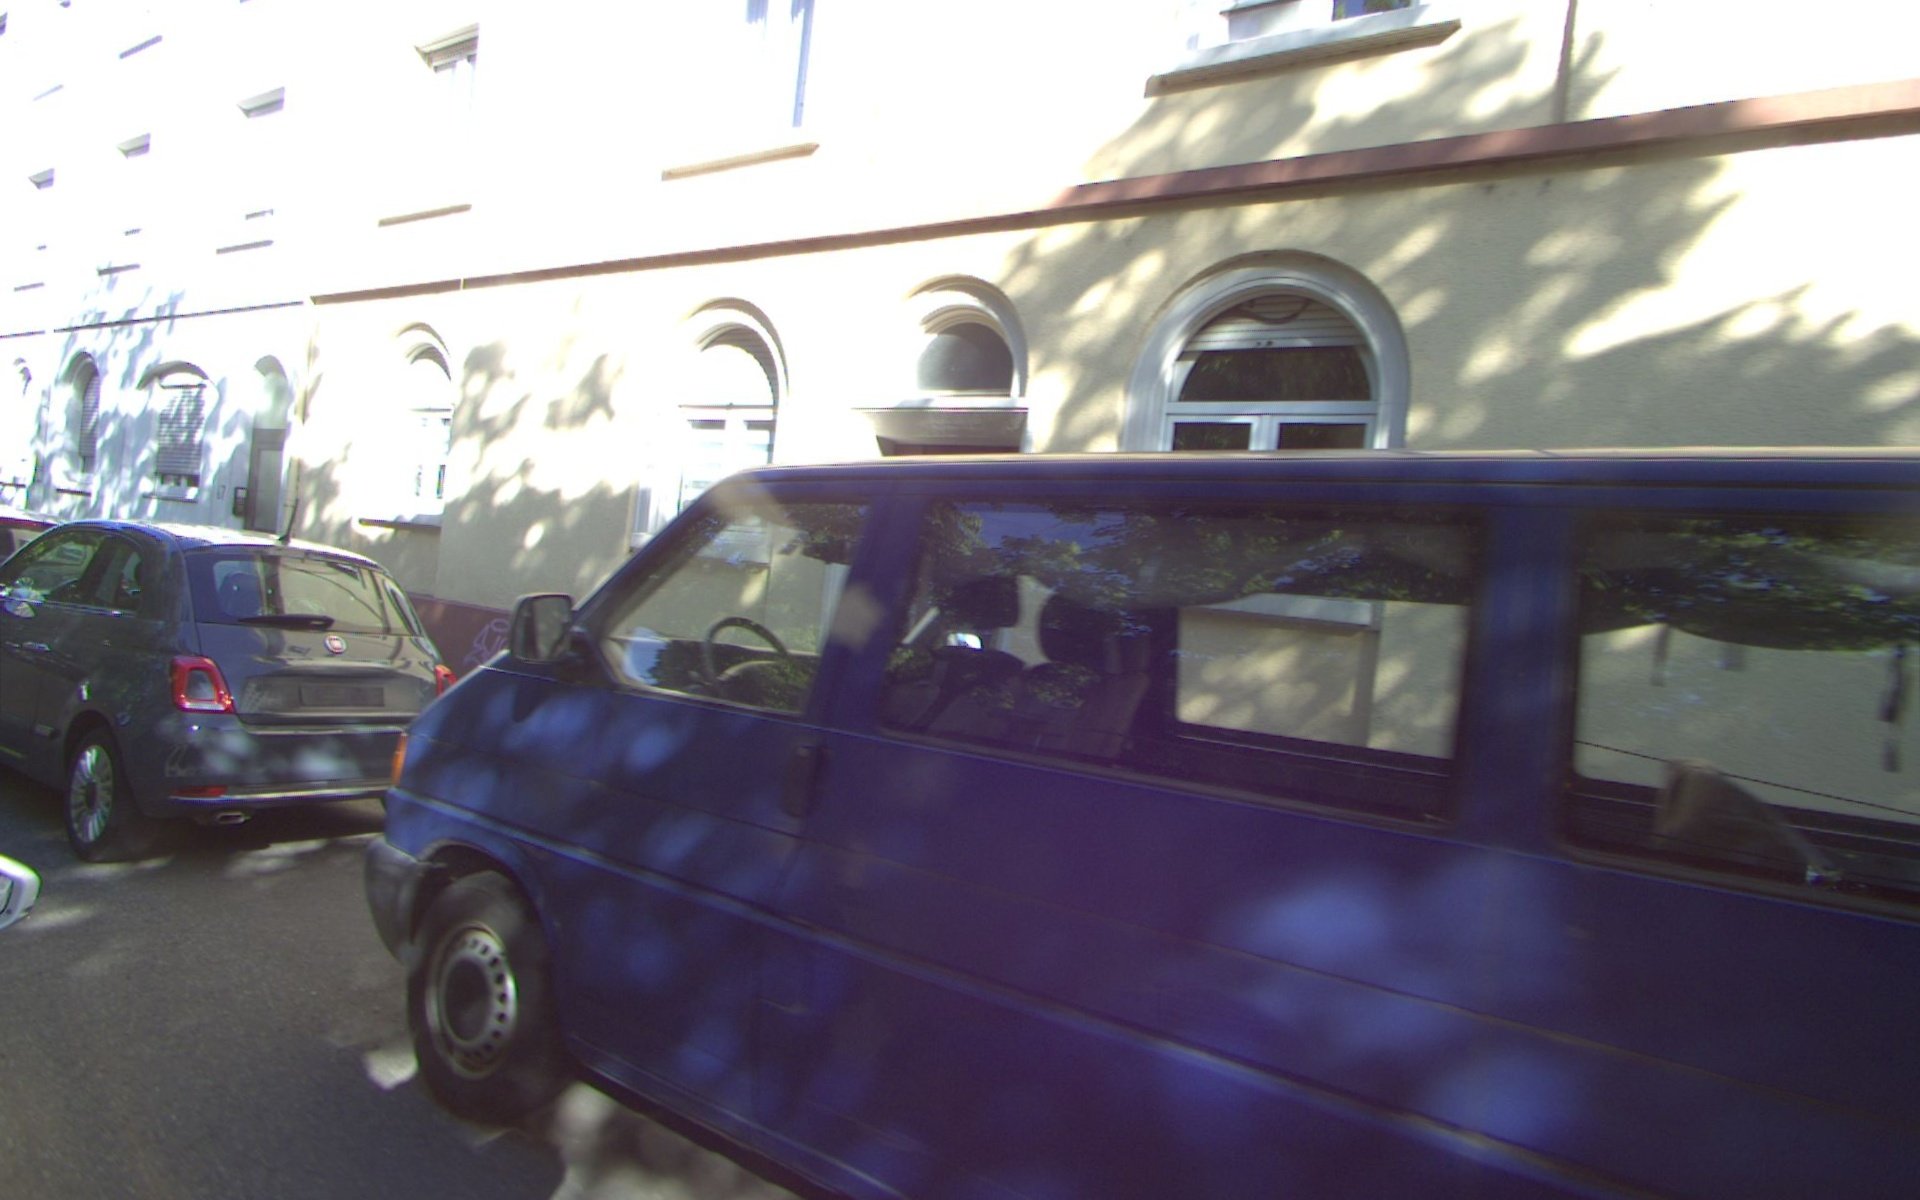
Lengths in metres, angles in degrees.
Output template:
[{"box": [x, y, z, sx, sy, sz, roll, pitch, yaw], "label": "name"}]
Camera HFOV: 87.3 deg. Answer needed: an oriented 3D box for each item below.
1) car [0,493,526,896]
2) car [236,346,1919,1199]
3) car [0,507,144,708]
[{"box": [-4.319, 0.292, 5.554, 3.534, 1.517, 1.624, 7, 0, 29], "label": "car"}, {"box": [0.311, 0.594, 2.751, 4.765, 1.924, 1.950, 7, 0, 32], "label": "car"}, {"box": [-8.521, -0.115, 8.139, 3.794, 1.411, 1.552, 7, 0, 28], "label": "car"}]
